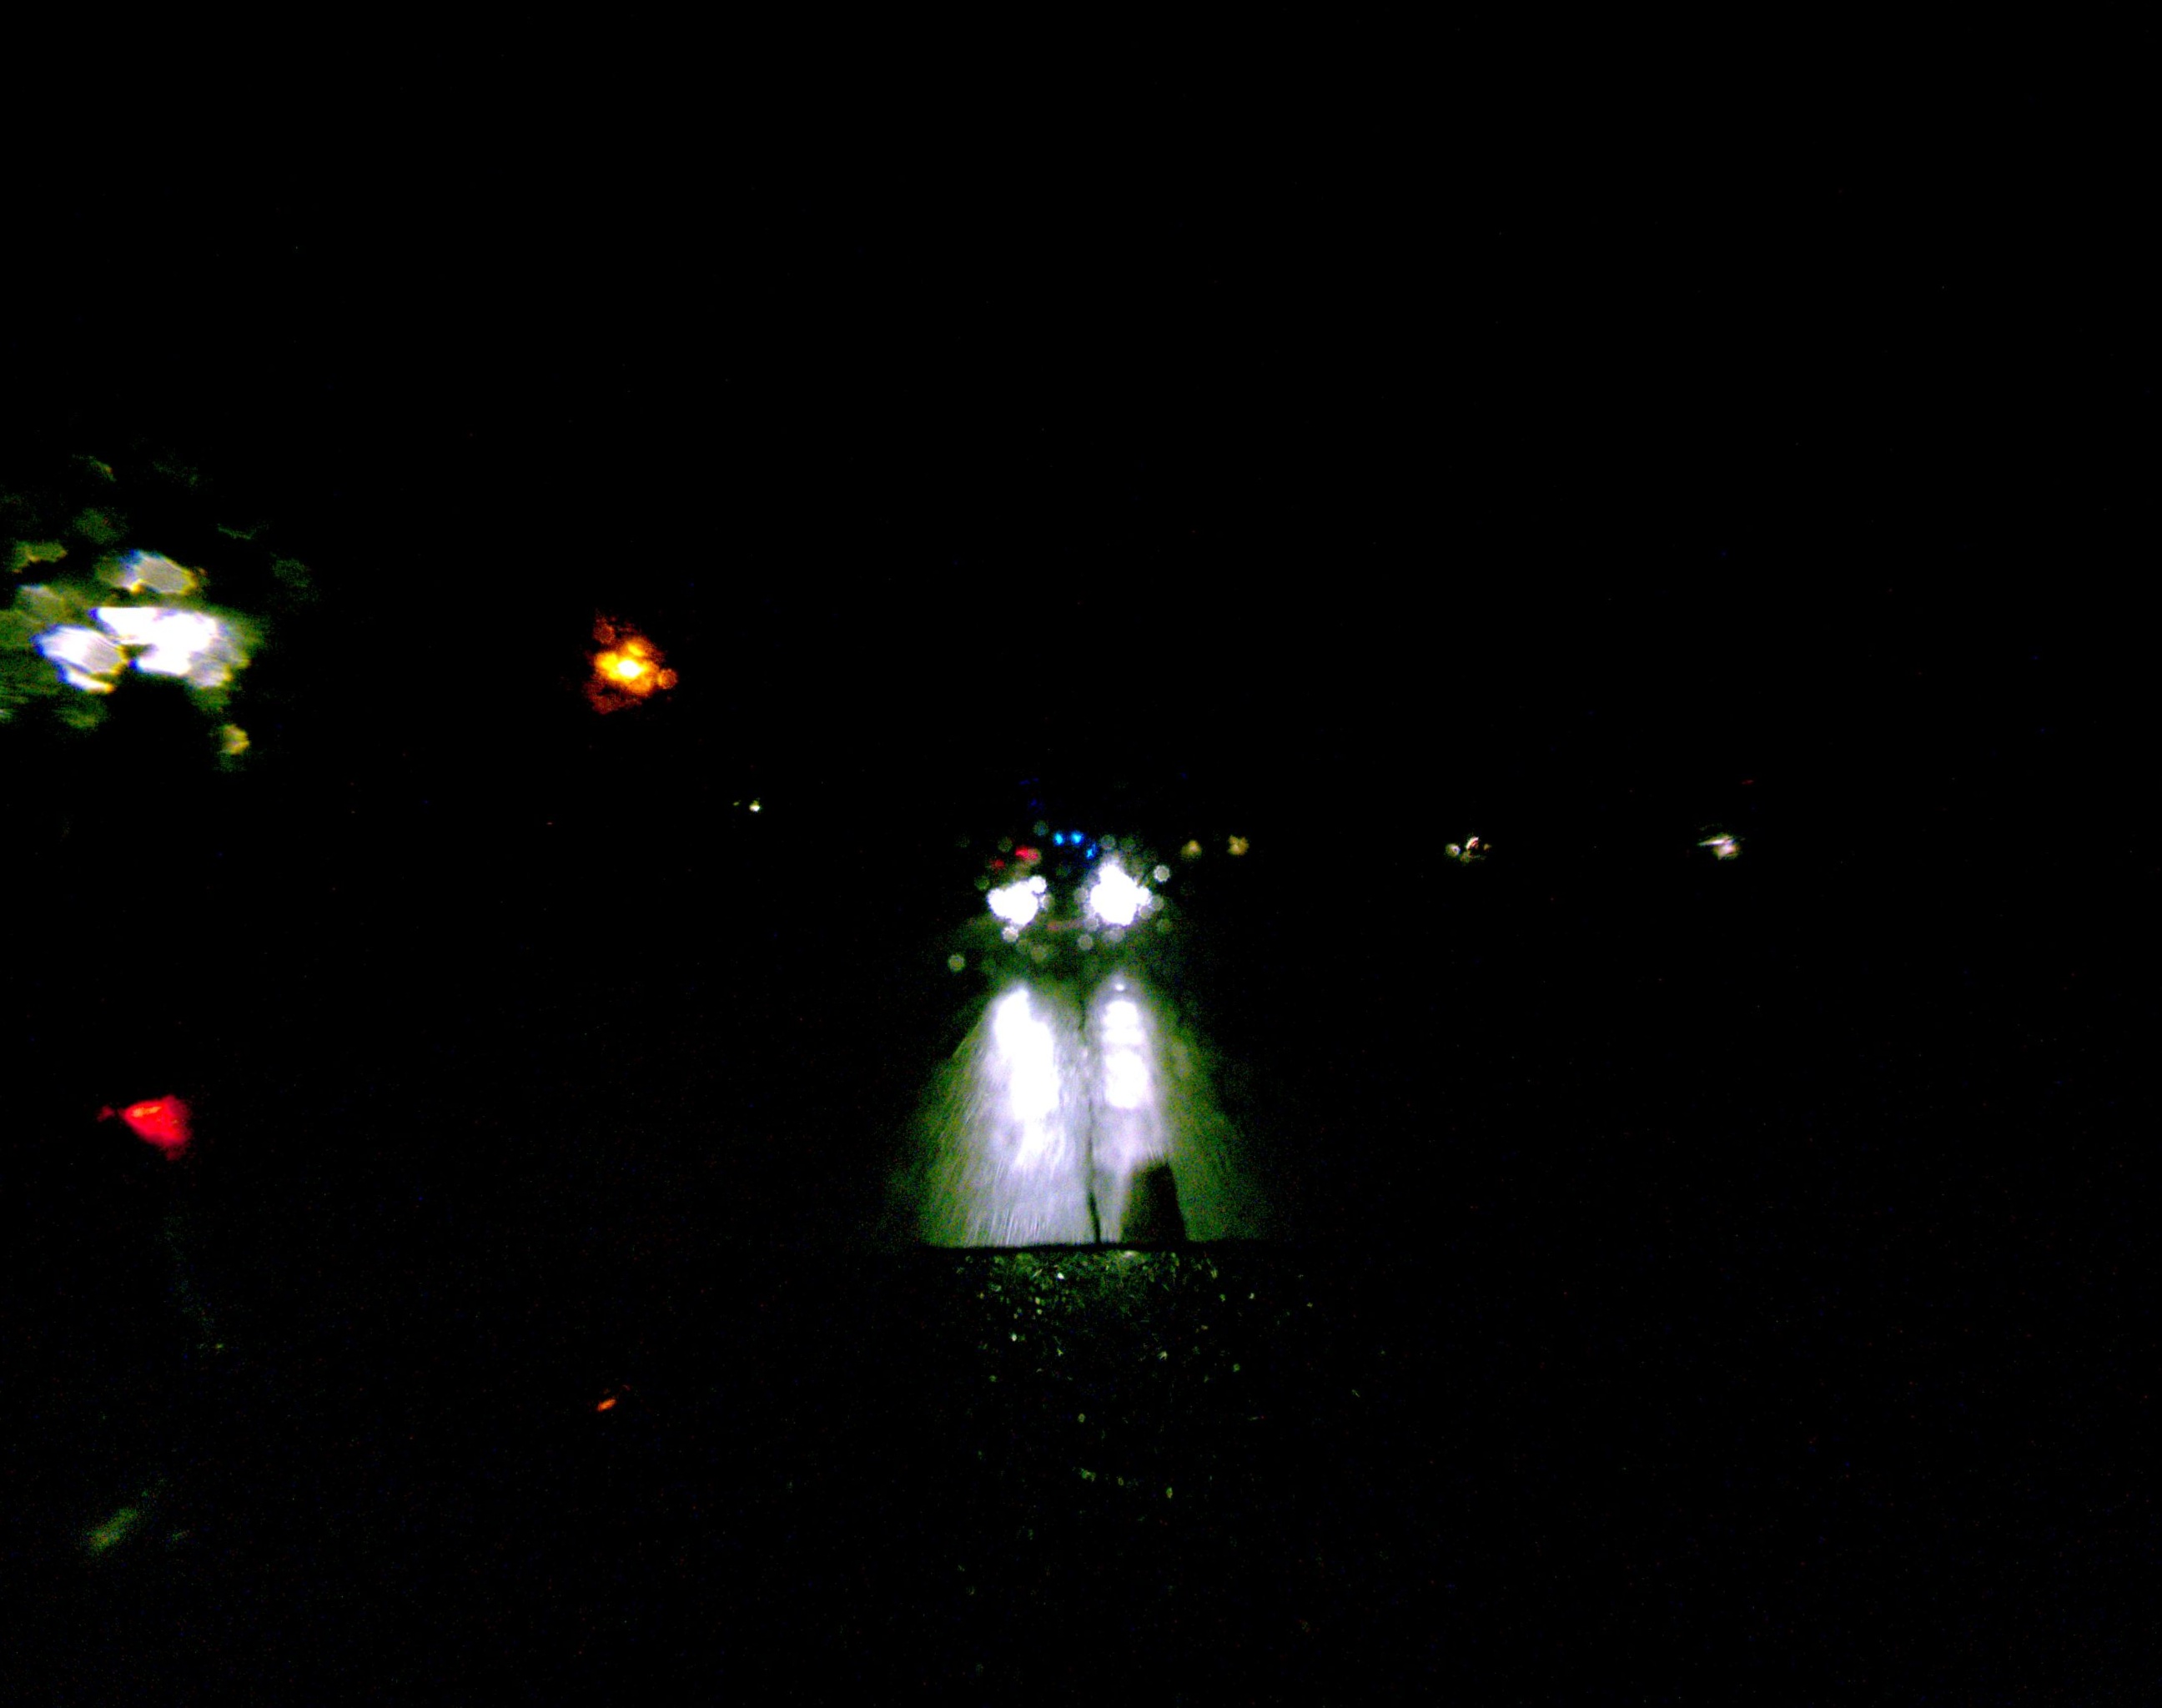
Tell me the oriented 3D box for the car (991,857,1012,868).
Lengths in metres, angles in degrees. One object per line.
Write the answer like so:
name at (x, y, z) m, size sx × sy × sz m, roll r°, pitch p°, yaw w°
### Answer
car at (-16.306, 1.767, 156.189) m, size 3.989 × 2.002 × 2.004 m, roll -2°, pitch 1°, yaw 36°

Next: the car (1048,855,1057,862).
car at (-8.279, 1.323, 222.407) m, size 2.092 × 2.002 × 4.709 m, roll -2°, pitch 1°, yaw -10°

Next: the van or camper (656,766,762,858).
van or camper at (-12.615, -1.314, 26.222) m, size 2.417 × 2.777 × 5.763 m, roll -3°, pitch 1°, yaw -18°

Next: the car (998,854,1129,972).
car at (-0.225, 0.856, 13.114) m, size 1.826 × 1.573 × 4.354 m, roll -3°, pitch 1°, yaw 1°

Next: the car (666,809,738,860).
car at (-16.246, -0.790, 32.763) m, size 2.001 × 2.002 × 3.994 m, roll -3°, pitch 1°, yaw -16°

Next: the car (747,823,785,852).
car at (-23.711, -1.206, 57.335) m, size 2.001 × 2.002 × 3.995 m, roll -3°, pitch 1°, yaw -14°
